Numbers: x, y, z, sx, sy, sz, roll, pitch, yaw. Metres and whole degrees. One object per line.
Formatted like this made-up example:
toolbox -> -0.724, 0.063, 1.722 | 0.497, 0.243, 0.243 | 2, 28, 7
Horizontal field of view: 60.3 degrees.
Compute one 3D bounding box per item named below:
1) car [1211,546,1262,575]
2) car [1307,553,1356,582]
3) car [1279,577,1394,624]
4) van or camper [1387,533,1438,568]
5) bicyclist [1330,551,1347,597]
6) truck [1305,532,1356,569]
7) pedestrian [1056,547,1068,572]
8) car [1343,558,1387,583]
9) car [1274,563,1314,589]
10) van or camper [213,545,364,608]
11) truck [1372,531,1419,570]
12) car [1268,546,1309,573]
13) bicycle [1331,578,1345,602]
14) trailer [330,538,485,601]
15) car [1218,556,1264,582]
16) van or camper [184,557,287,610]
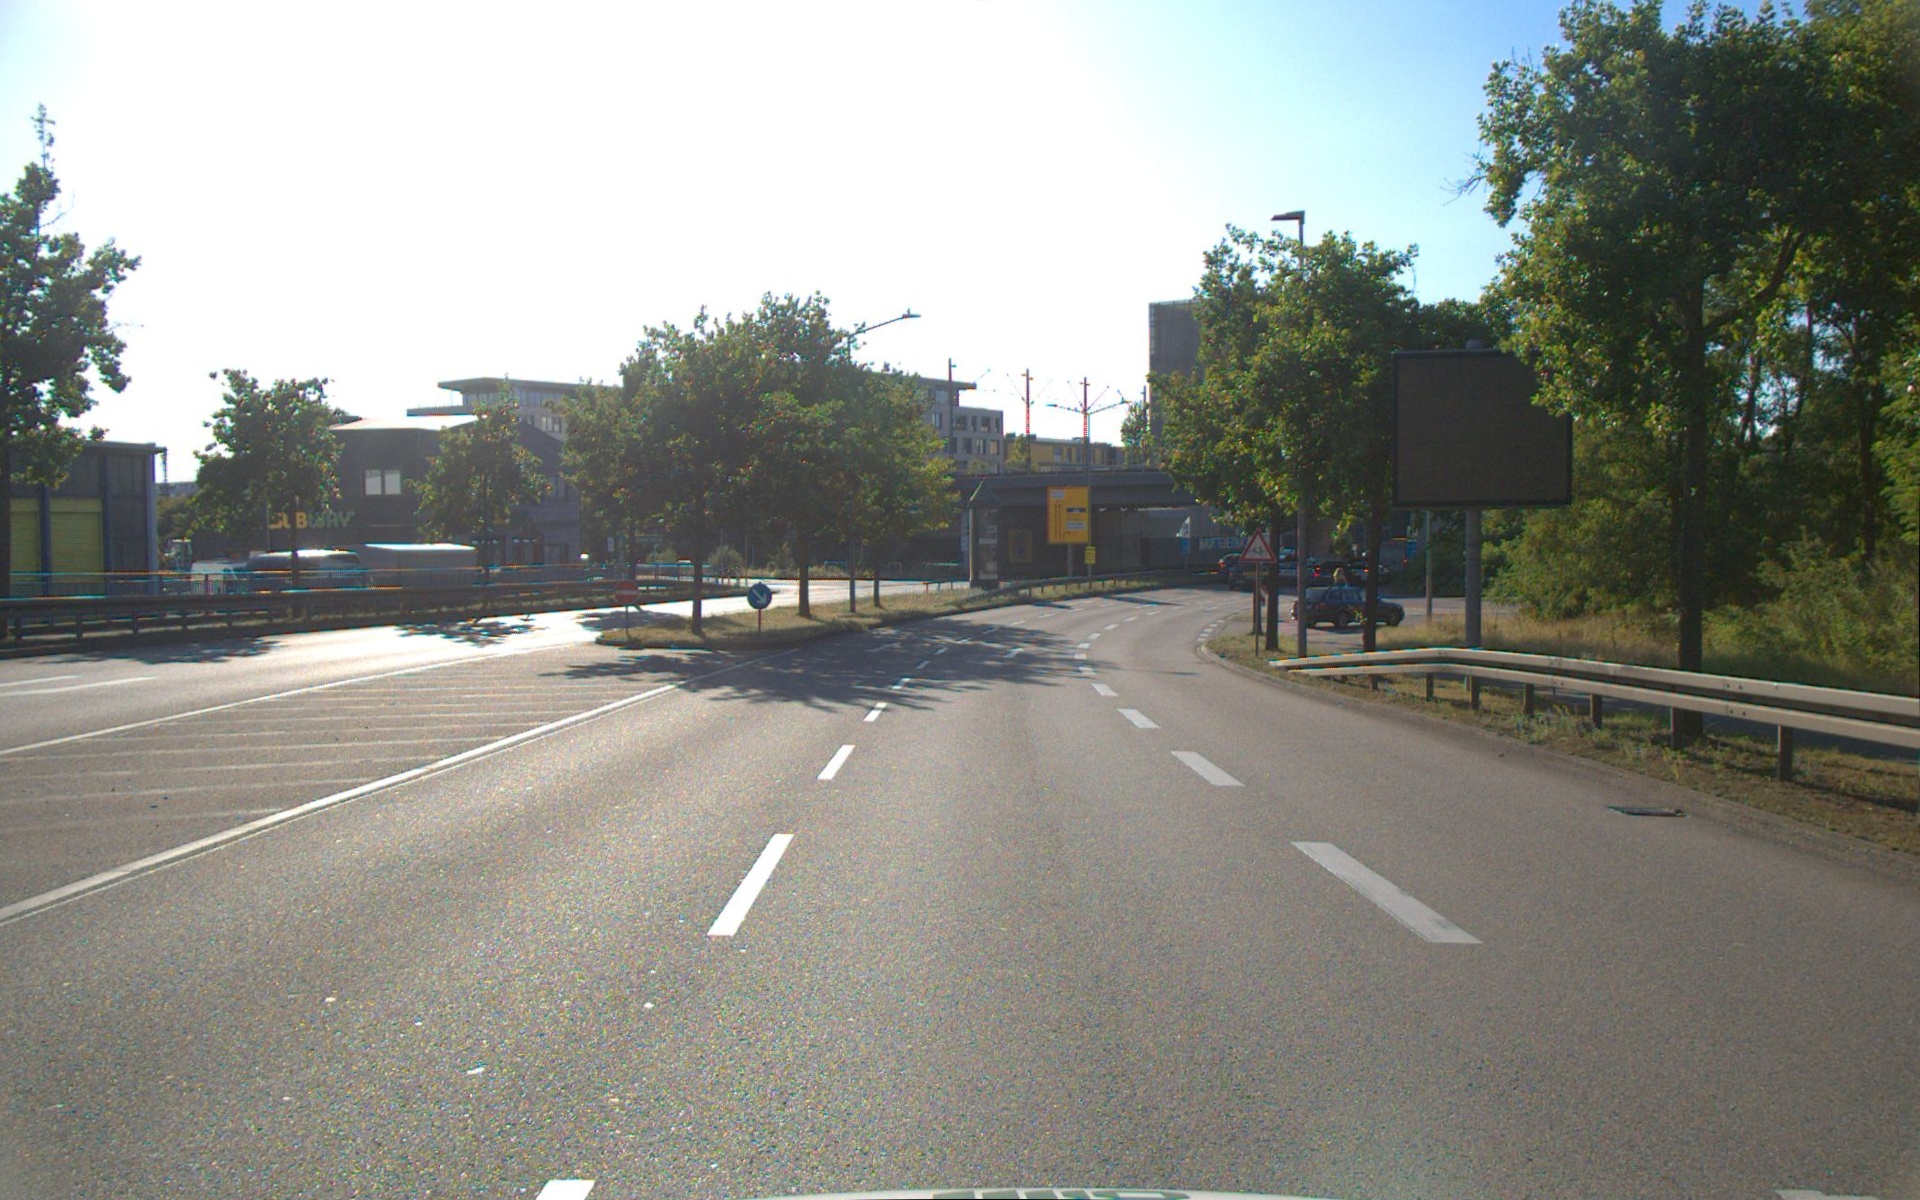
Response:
car -> 17.205, -2.462, 102.847 | 1.794, 1.768, 4.456 | 1, 2, 28
car -> 22.023, -1.928, 97.832 | 1.707, 1.479, 4.601 | 2, 4, 27
car -> 13.822, 0.010, 60.636 | 3.957, 1.534, 1.974 | -3, 1, -36
van or camper -> 34.274, -3.747, 125.135 | 1.959, 2.615, 5.899 | 2, 2, 34
bicyclist -> 16.324, -1.122, 71.309 | 0.667, 1.940, 0.834 | 1, 2, 13
truck -> 26.971, -3.615, 120.132 | 1.991, 2.601, 5.526 | 2, 2, 31
pedestrian -> 7.946, -3.139, 128.423 | 0.681, 1.936, 0.663 | 2, 2, 32
car -> 25.541, -1.891, 104.310 | 1.739, 1.521, 3.825 | 0, 2, 30
car -> 20.575, -1.509, 101.772 | 1.517, 1.447, 3.414 | -2, 1, 26
van or camper -> -19.601, -0.717, 48.525 | 1.951, 1.715, 4.965 | 1, 1, 7
truck -> 29.302, -3.290, 111.207 | 2.071, 2.563, 4.394 | 1, 1, 29
car -> 22.566, -2.802, 113.401 | 1.804, 1.749, 3.998 | -2, 1, 25
bicycle -> 16.278, -0.434, 71.233 | 0.566, 0.980, 2.889 | 1, 2, 13
trailer -> -18.788, -1.081, 56.673 | 2.368, 2.004, 6.612 | 1, 1, 8
car -> 16.156, -1.786, 94.943 | 1.551, 1.433, 3.829 | 2, 2, 26
van or camper -> -27.758, -0.621, 63.317 | 4.150, 1.959, 1.990 | 1, 0, 40
